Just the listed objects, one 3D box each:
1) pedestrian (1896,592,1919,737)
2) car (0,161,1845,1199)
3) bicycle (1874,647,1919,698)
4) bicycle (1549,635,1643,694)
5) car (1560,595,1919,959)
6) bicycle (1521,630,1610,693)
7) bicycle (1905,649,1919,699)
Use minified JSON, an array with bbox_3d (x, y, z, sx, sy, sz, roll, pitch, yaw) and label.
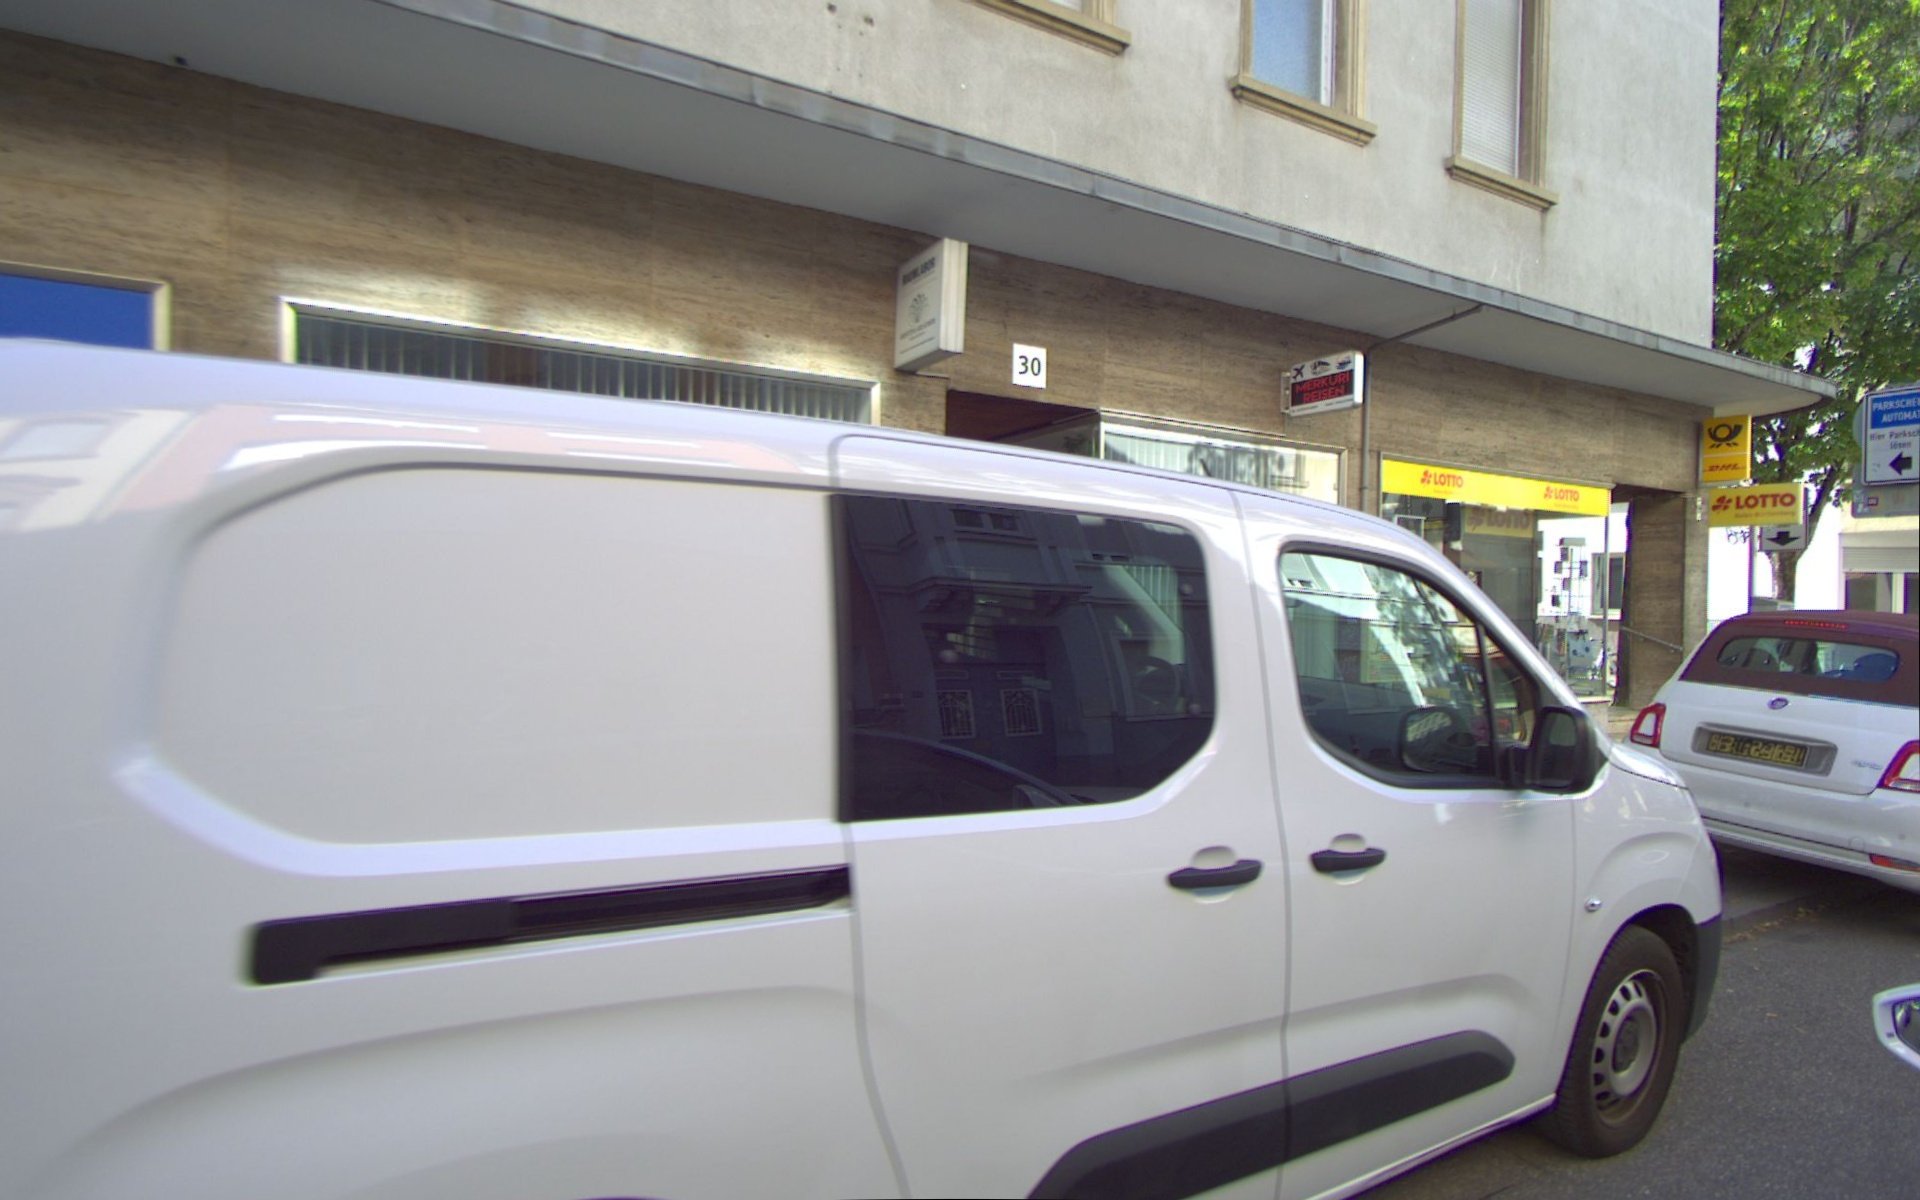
[{"bbox_3d":[12.866,0.840,12.904,1.231,1.857,0.906,2,-1,-30],"label":"pedestrian"},{"bbox_3d":[0.296,0.602,2.686,4.754,1.924,1.758,1,-2,-31],"label":"car"},{"bbox_3d":[18.258,1.364,18.745,1.825,0.925,0.383,0,-1,11],"label":"bicycle"},{"bbox_3d":[12.956,1.294,20.446,2.155,1.043,0.637,-2,1,-28],"label":"bicycle"},{"bbox_3d":[5.442,0.809,5.922,3.677,1.581,1.660,1,-1,-29],"label":"car"},{"bbox_3d":[12.713,1.263,21.072,2.411,1.201,0.500,-1,-1,-31],"label":"bicycle"},{"bbox_3d":[18.284,1.358,18.317,1.553,0.909,0.404,0,-1,11],"label":"bicycle"}]
